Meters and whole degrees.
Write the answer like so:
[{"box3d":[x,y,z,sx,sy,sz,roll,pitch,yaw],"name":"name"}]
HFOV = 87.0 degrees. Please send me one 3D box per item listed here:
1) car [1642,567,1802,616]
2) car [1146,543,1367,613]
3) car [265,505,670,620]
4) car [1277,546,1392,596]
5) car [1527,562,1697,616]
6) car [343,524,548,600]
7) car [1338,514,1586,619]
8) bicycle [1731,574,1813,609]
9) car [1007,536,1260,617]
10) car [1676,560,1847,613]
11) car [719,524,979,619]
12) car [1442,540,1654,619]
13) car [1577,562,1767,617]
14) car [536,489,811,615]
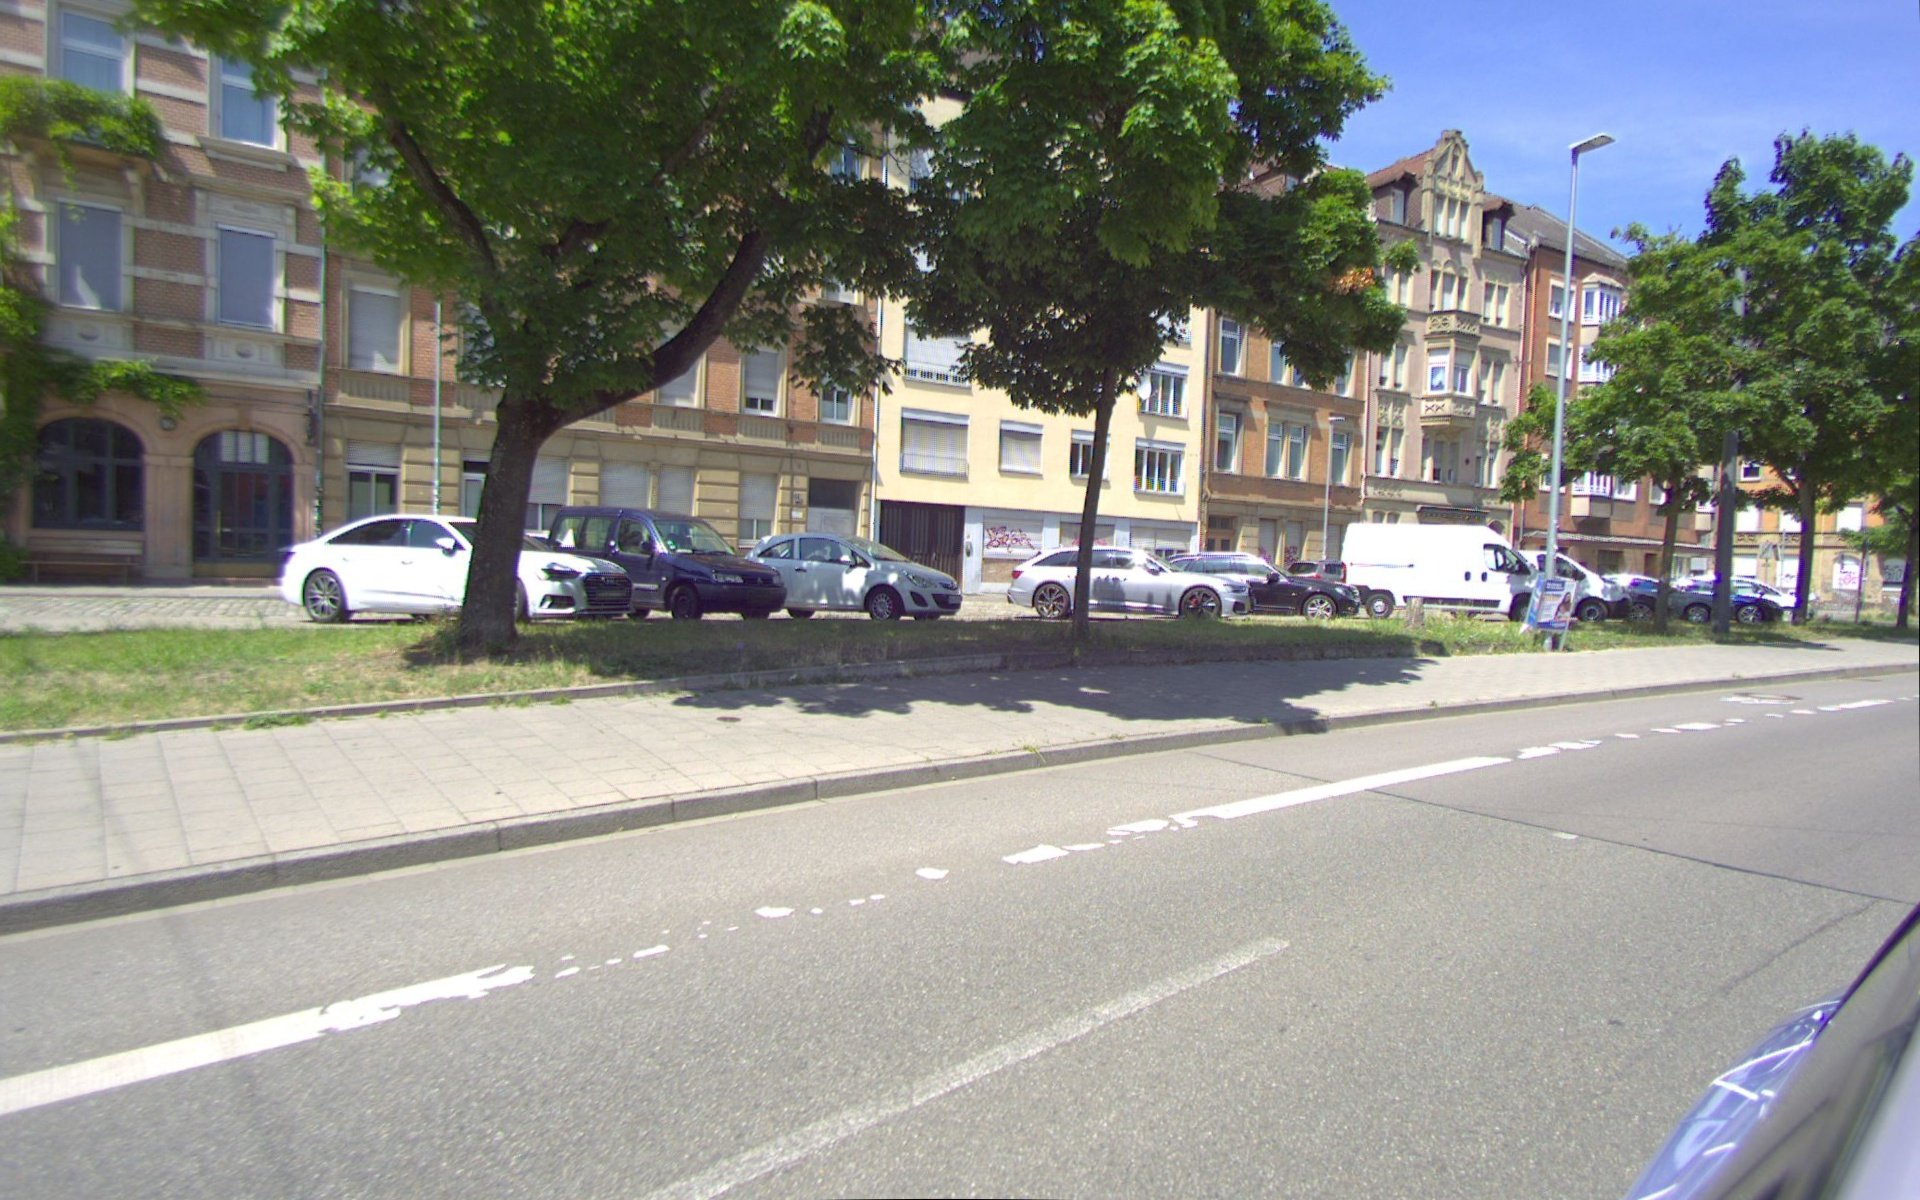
[{"box3d":[24.235,-0.315,32.304,3.980,1.417,1.798,2,2,39],"name":"car"},{"box3d":[6.395,-0.496,21.797,4.382,1.355,1.957,2,2,23],"name":"car"},{"box3d":[-6.496,-0.513,13.445,4.725,1.329,2.137,2,2,18],"name":"car"},{"box3d":[13.436,-1.028,36.250,3.922,1.705,1.826,0,2,-32],"name":"car"},{"box3d":[18.785,-0.352,29.237,3.980,1.404,1.798,2,2,39],"name":"car"},{"box3d":[-10.612,-0.749,20.923,3.642,1.437,1.786,0,2,-32],"name":"car"},{"box3d":[12.747,-0.894,26.165,5.489,2.491,2.221,2,1,23],"name":"car"},{"box3d":[29.410,-0.311,36.668,2.316,1.208,0.741,1,1,1],"name":"bicycle"},{"box3d":[3.432,-0.502,20.041,4.640,1.445,1.957,2,2,23],"name":"car"},{"box3d":[26.913,-0.489,34.160,4.389,1.652,1.973,2,2,38],"name":"car"},{"box3d":[-1.830,-0.498,16.698,3.956,1.417,1.699,2,2,24],"name":"car"},{"box3d":[15.982,-0.613,27.750,4.809,1.997,2.054,2,2,31],"name":"car"},{"box3d":[21.600,-0.363,30.906,4.605,1.515,1.940,2,2,36],"name":"car"},{"box3d":[-4.407,-0.711,15.436,3.972,1.682,1.949,2,2,34],"name":"car"}]
